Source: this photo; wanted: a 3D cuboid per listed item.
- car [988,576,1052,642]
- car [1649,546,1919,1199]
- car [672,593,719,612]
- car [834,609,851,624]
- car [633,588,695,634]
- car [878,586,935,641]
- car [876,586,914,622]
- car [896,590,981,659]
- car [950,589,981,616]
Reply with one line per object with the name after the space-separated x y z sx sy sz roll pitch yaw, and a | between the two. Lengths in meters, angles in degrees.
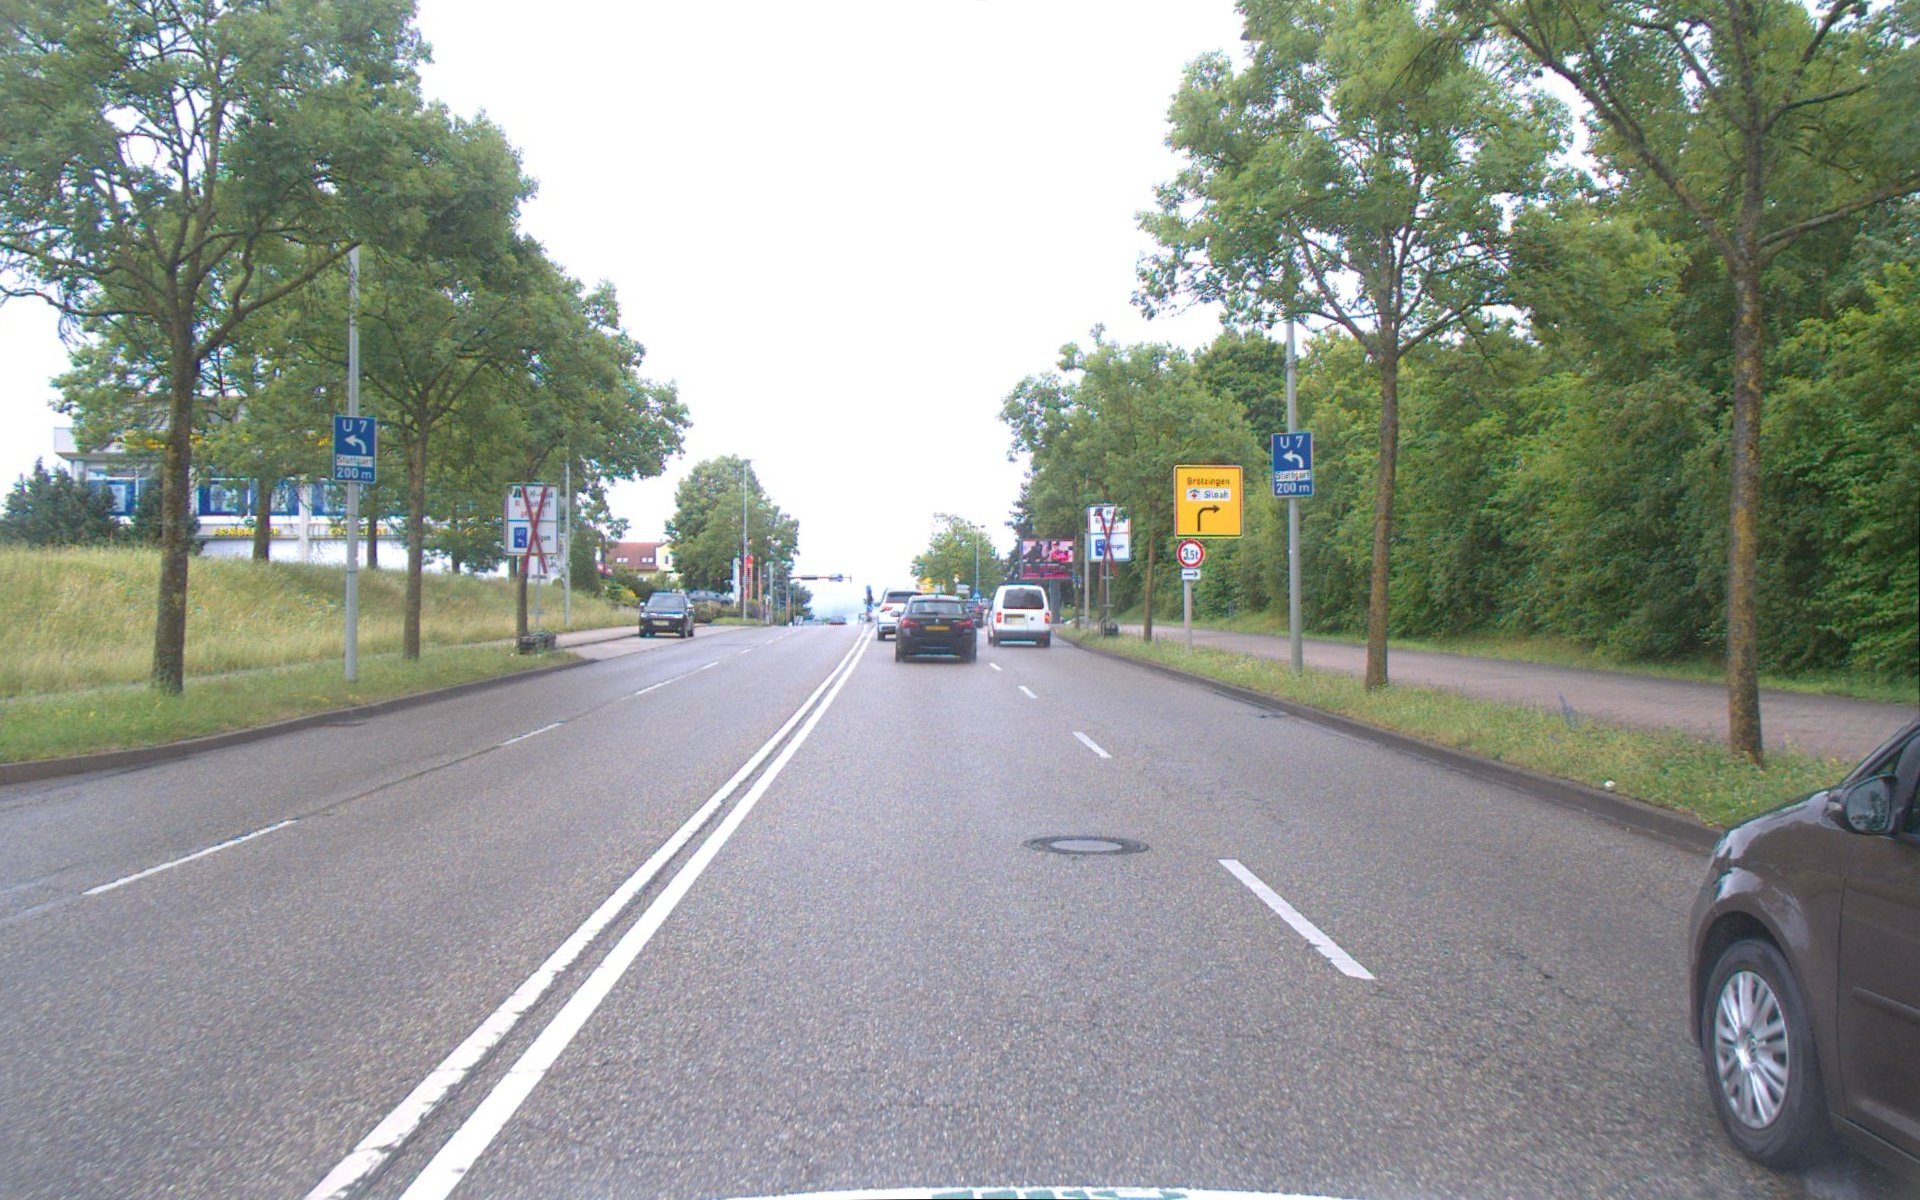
1.784 0.247 50.232 1.706 1.902 3.945 1 0 -1 | car
3.090 0.697 3.233 1.679 1.624 4.129 1 0 -1 | car
-21.594 0.183 135.027 3.756 1.508 1.738 0 -1 -10 | car
-12.736 1.768 179.771 1.760 1.611 4.195 -1 0 -4 | car
-11.386 0.400 63.863 1.691 1.697 4.486 1 0 -2 | car
-1.747 0.420 54.954 1.693 1.741 3.382 1 0 1 | car
-3.148 0.176 80.802 1.722 1.738 3.945 0 0 -1 | car
-0.467 0.518 37.672 1.817 1.444 3.956 1 0 0 | car
0.294 0.100 88.118 1.568 1.396 3.679 -1 0 -1 | car
